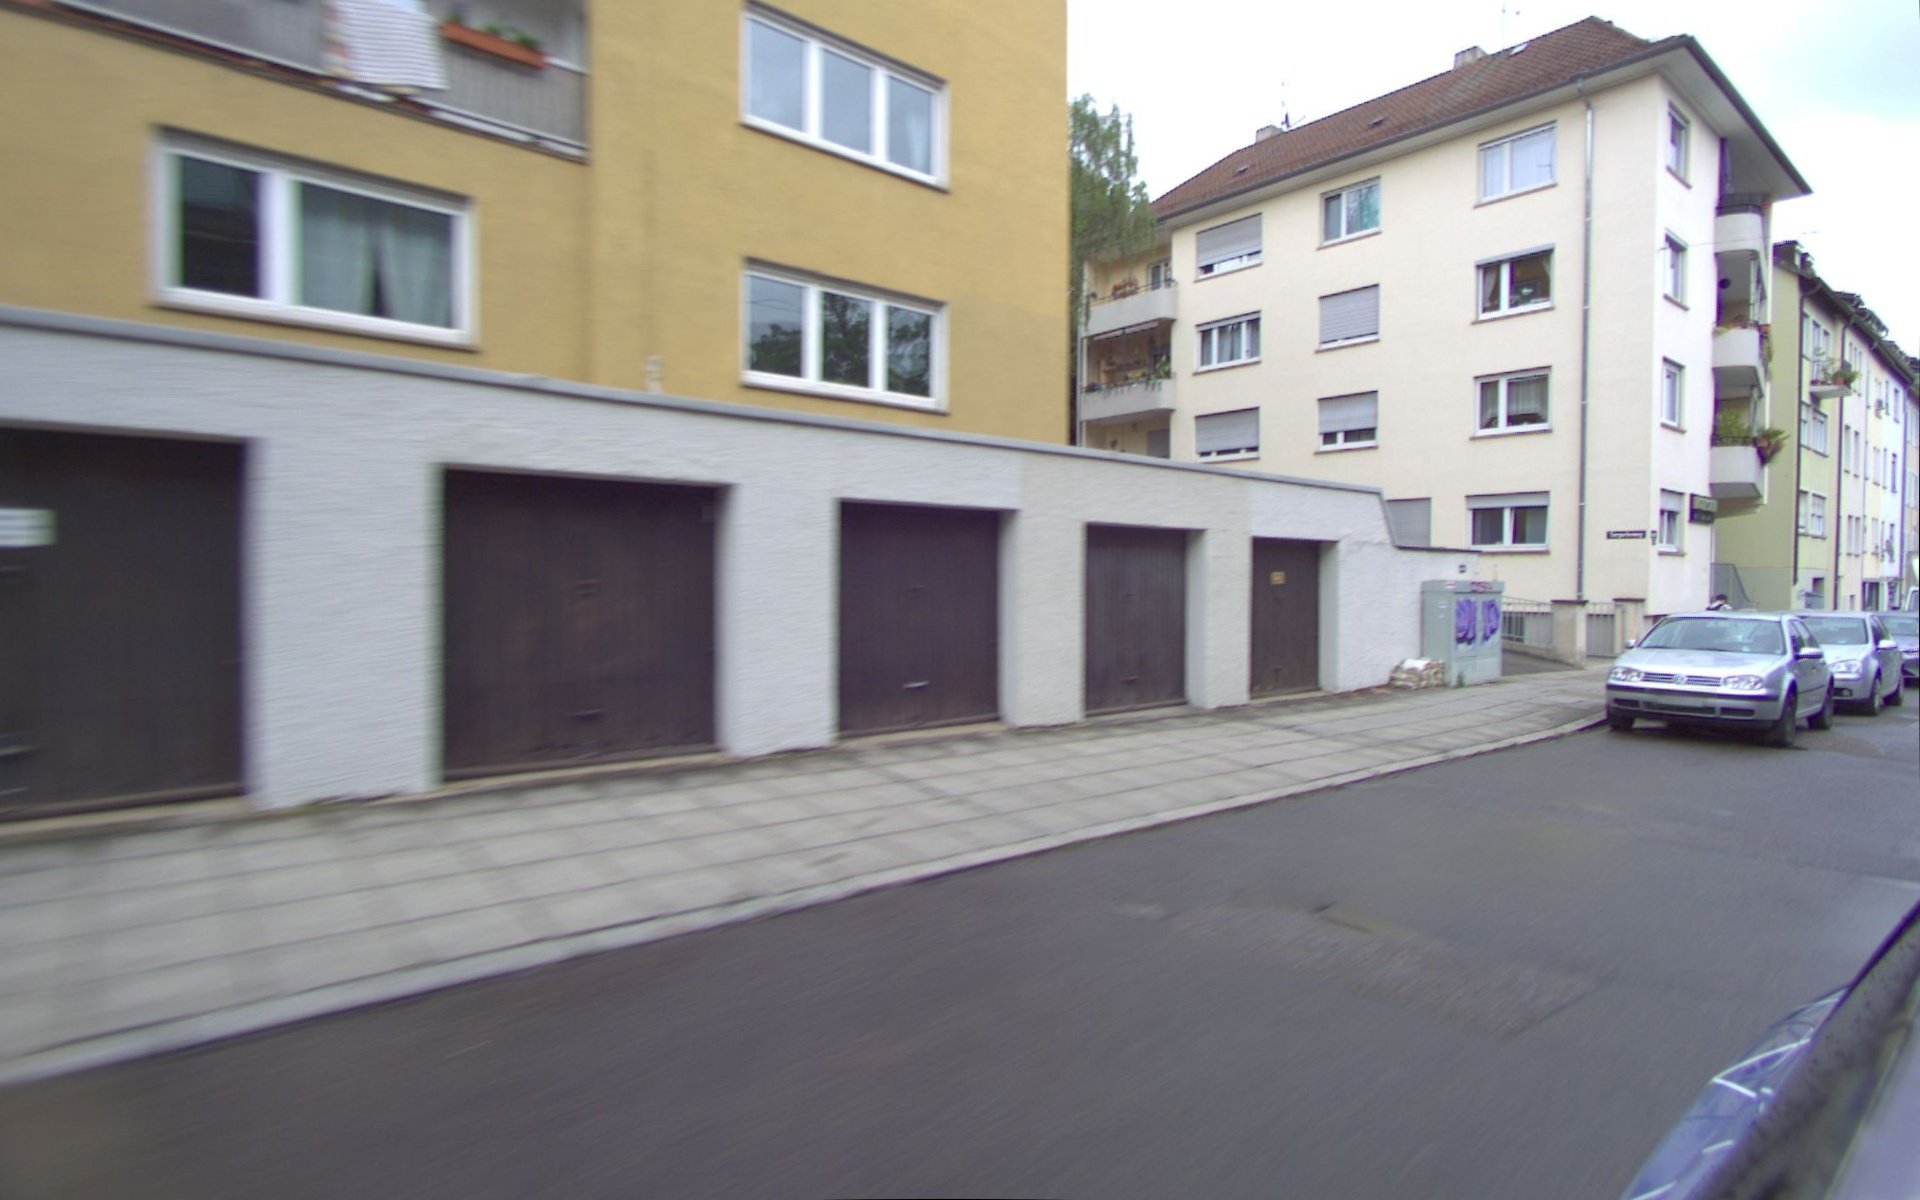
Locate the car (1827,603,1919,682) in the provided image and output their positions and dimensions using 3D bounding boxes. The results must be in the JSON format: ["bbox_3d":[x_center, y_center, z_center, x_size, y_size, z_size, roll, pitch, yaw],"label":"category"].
[{"bbox_3d":[19.072,0.814,20.543,3.444,1.449,1.739,0,0,-41],"label":"car"}]

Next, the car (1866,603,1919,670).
[{"bbox_3d":[22.490,0.820,23.500,3.444,1.449,1.739,0,0,-41],"label":"car"}]

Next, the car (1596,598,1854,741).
[{"bbox_3d":[9.245,0.698,12.132,3.772,1.395,1.739,-1,1,-41],"label":"car"}]

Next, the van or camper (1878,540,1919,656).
[{"bbox_3d":[28.410,-0.082,28.570,6.905,3.096,2.753,-1,1,-40],"label":"van or camper"}]

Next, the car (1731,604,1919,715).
[{"bbox_3d":[13.241,0.799,15.327,3.901,1.395,1.739,-1,1,-41],"label":"car"}]
